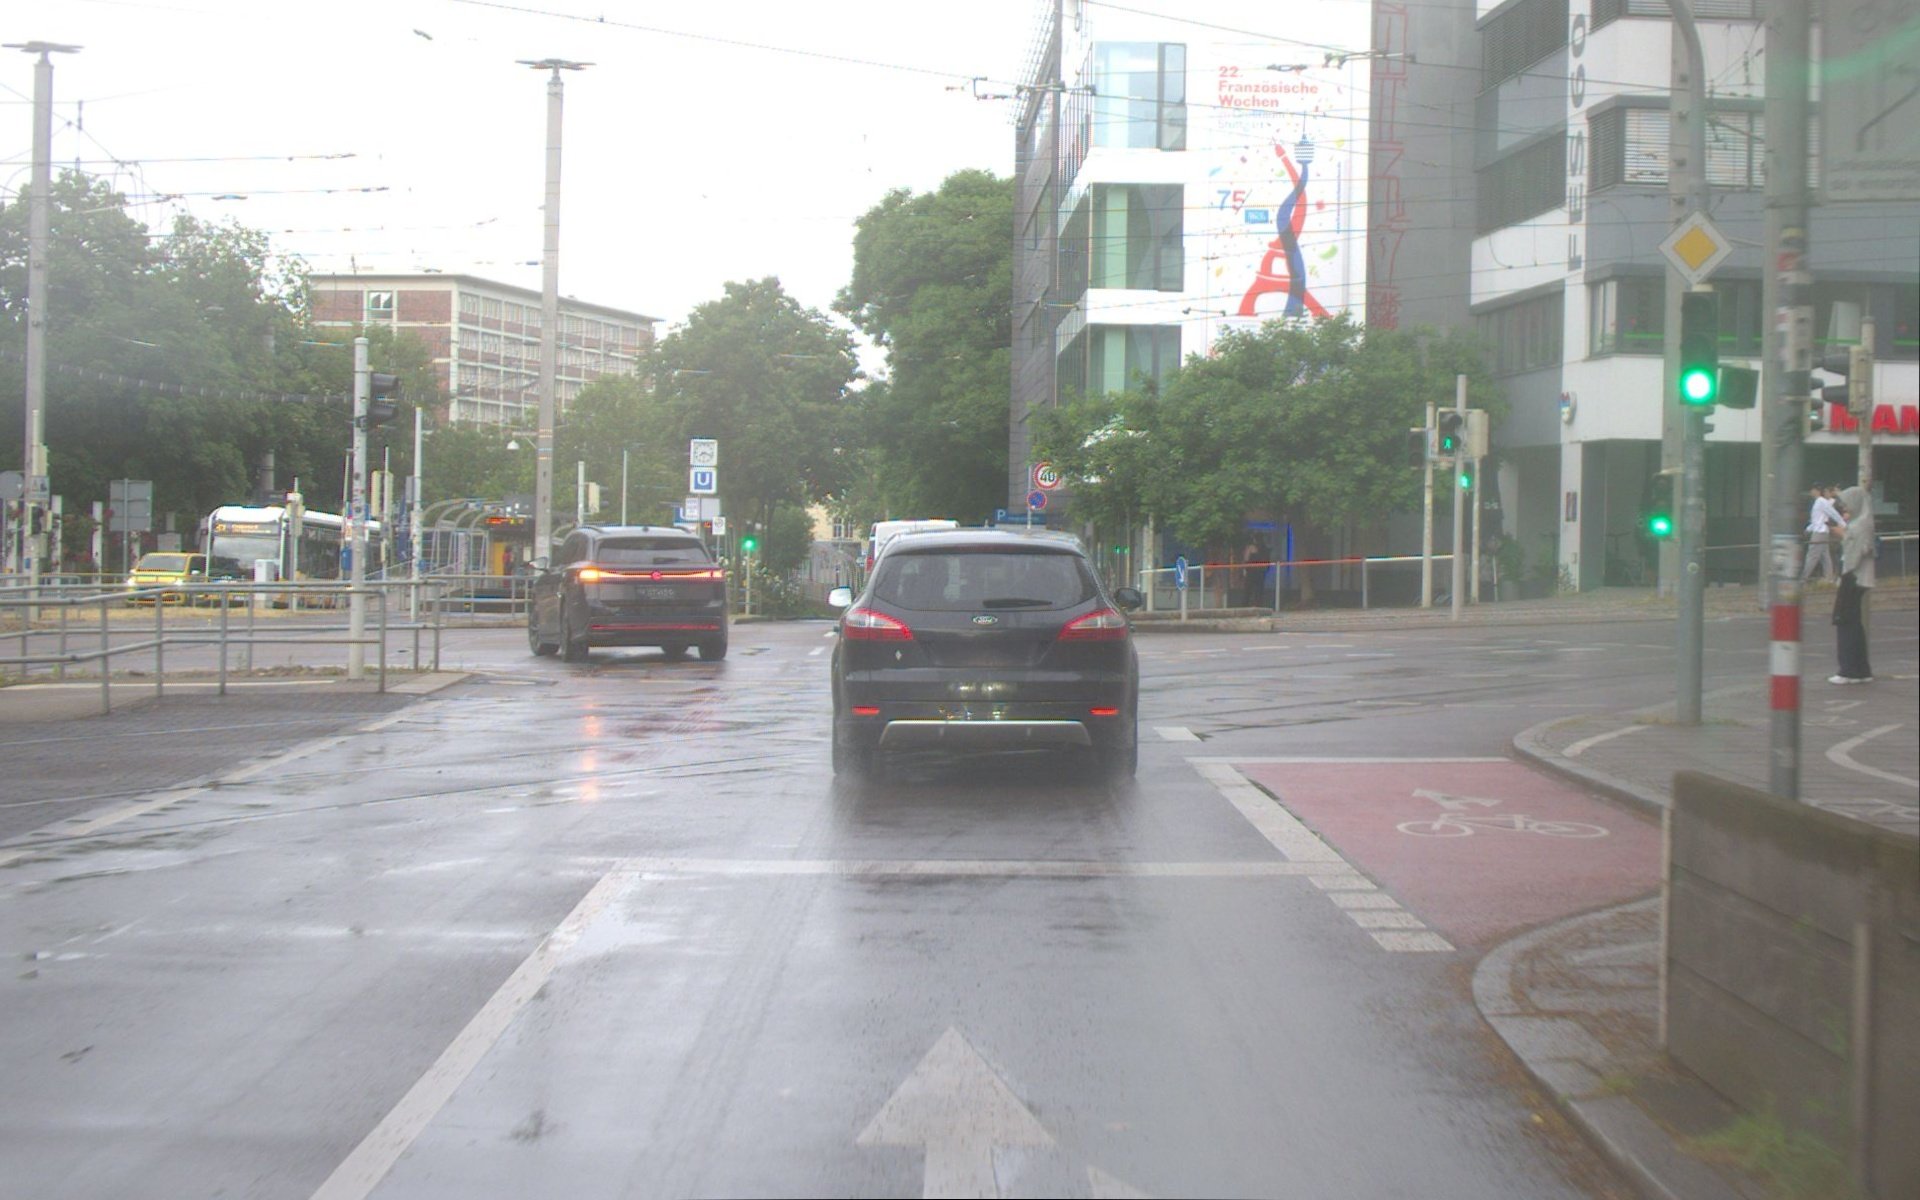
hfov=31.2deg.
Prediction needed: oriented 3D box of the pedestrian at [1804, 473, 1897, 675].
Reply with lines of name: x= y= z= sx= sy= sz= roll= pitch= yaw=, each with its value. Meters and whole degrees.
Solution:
pedestrian: x=7.643 y=-0.229 z=29.493 sx=0.528 sy=1.706 sz=0.704 roll=0 pitch=2 yaw=38

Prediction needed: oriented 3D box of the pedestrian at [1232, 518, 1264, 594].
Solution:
pedestrian: x=5.918 y=-0.906 z=70.577 sx=0.542 sy=1.558 sz=0.521 roll=0 pitch=1 yaw=20

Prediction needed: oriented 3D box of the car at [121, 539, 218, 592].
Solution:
car: x=-25.025 y=-1.111 z=108.971 sx=1.993 sy=1.640 sz=4.537 roll=0 pitch=1 yaw=0

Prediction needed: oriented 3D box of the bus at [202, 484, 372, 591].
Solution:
bus: x=-21.973 y=-2.073 z=113.098 sx=3.077 sy=3.289 sz=12.523 roll=0 pitch=1 yaw=0

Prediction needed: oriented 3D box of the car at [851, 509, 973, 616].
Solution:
car: x=-0.836 y=-0.710 z=62.491 sx=2.036 sy=1.833 sz=4.392 roll=1 pitch=1 yaw=1

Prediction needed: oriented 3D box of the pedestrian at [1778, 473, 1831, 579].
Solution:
pedestrian: x=15.365 y=-1.340 z=62.560 sx=0.718 sy=1.907 sz=0.696 roll=0 pitch=1 yaw=38

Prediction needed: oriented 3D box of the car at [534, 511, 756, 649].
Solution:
car: x=-3.727 y=-0.265 z=39.934 sx=2.098 sy=1.500 sz=4.733 roll=-1 pitch=1 yaw=-11

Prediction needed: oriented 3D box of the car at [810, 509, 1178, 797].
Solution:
car: x=0.173 y=0.241 z=21.512 sx=2.036 sy=1.579 sz=4.392 roll=1 pitch=1 yaw=0

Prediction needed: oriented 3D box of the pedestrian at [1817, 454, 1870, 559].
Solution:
pedestrian: x=16.195 y=-1.710 z=62.993 sx=0.718 sy=1.907 sz=0.696 roll=0 pitch=1 yaw=38
